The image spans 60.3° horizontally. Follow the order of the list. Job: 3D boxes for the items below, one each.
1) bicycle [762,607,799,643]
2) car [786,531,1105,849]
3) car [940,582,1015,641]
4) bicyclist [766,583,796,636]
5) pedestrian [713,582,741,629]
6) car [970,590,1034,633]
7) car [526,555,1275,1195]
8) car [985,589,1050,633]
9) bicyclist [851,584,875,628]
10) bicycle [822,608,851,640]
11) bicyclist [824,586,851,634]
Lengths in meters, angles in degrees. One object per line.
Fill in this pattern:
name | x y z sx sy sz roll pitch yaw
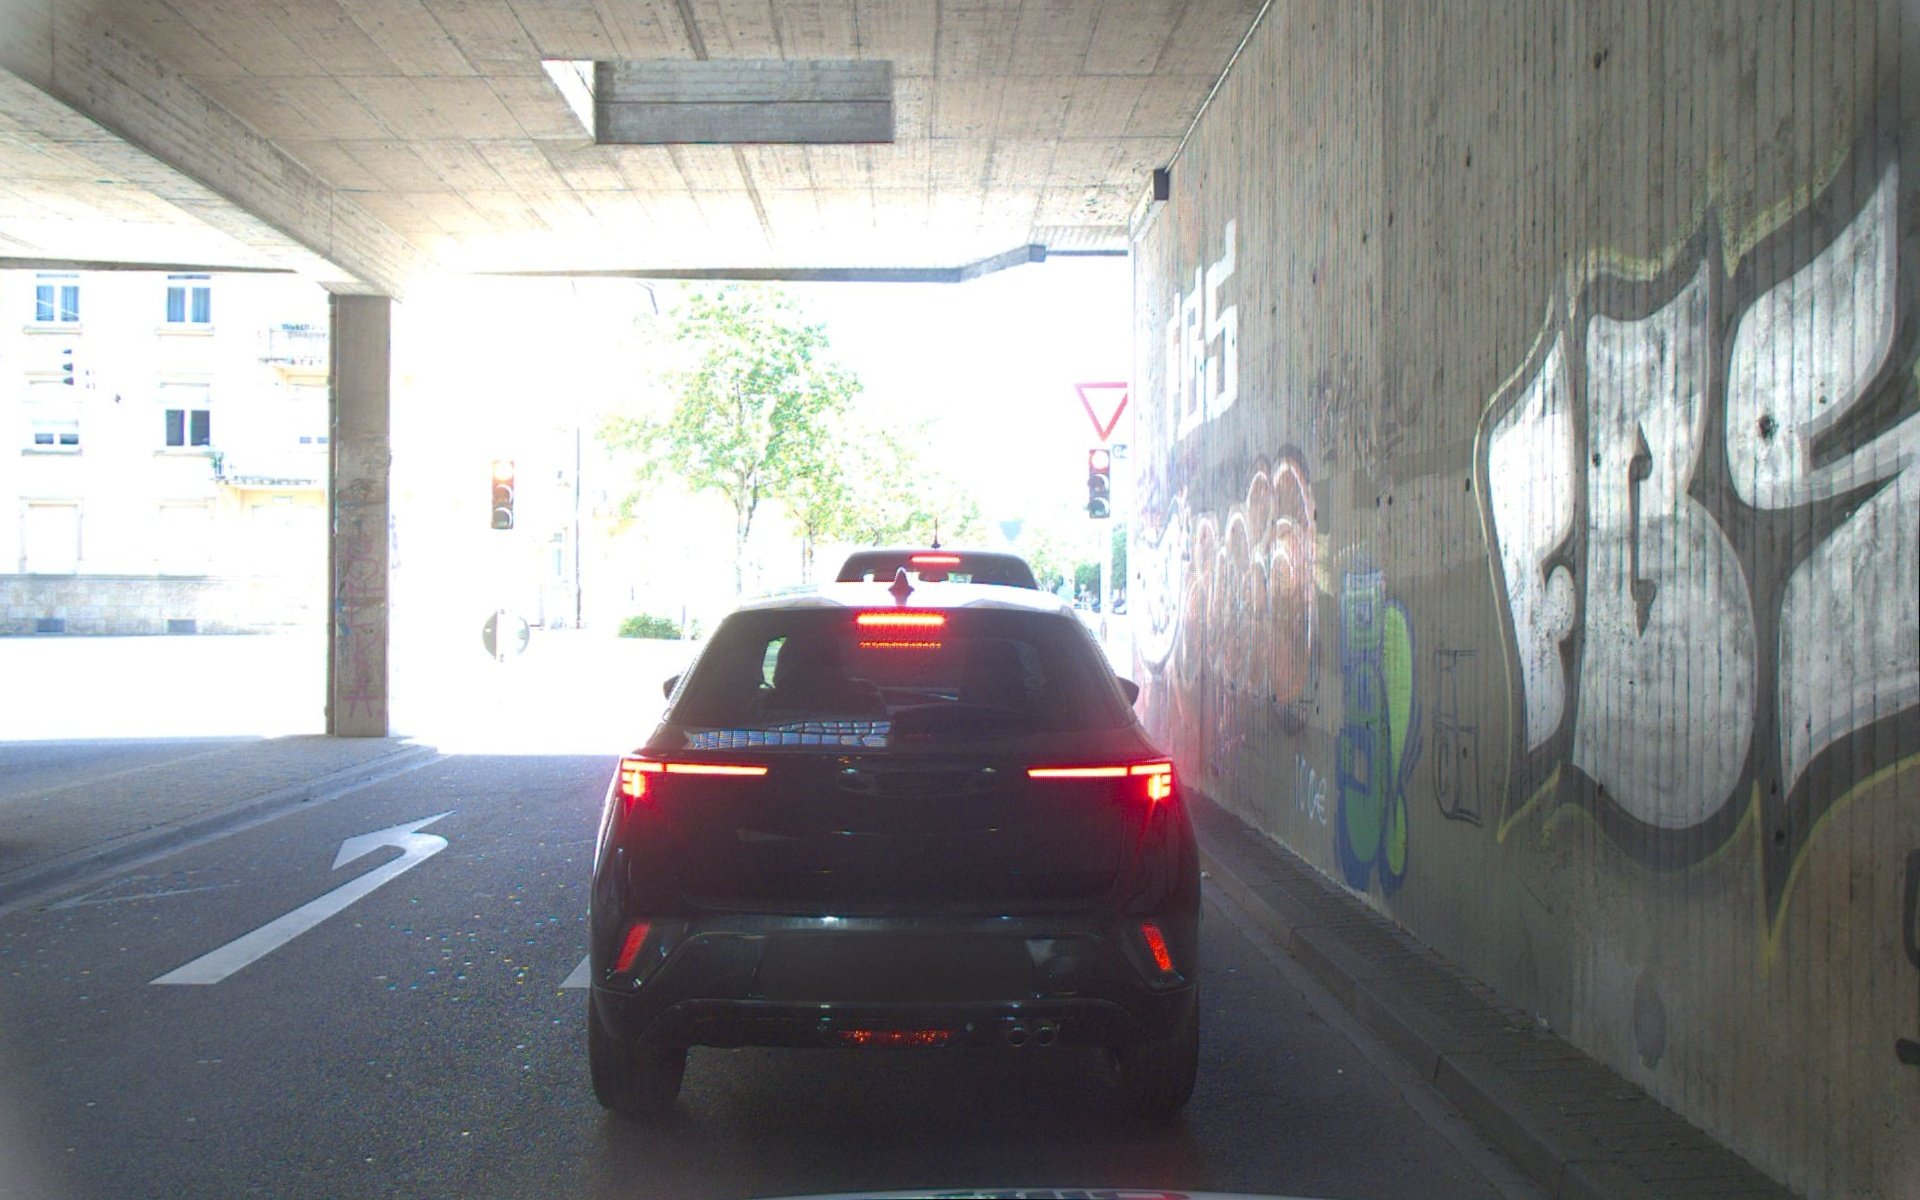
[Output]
bicycle | -5.571 0.767 51.429 0.716 1.086 1.690 1 0 9
car | -0.111 0.528 11.891 1.906 1.892 3.963 0 0 -1
car | 0.483 0.344 44.185 1.927 1.523 3.896 0 -1 1
bicyclist | -5.551 0.302 51.462 0.713 1.609 0.815 1 -1 9
pedestrian | -10.253 0.228 72.931 0.971 2.049 1.089 0 0 7
car | 1.609 0.458 62.222 1.926 1.523 3.899 0 -1 8
car | -0.170 0.665 6.066 1.844 1.565 3.963 0 0 -1
car | 2.454 0.504 69.044 2.173 1.749 4.463 0 -1 9
bicyclist | -3.615 0.212 61.562 0.713 1.609 0.815 1 -1 9
bicycle | -4.210 0.817 56.570 0.612 1.086 1.690 1 0 9
bicyclist | -4.182 0.352 56.559 0.713 1.609 0.815 1 -1 9
